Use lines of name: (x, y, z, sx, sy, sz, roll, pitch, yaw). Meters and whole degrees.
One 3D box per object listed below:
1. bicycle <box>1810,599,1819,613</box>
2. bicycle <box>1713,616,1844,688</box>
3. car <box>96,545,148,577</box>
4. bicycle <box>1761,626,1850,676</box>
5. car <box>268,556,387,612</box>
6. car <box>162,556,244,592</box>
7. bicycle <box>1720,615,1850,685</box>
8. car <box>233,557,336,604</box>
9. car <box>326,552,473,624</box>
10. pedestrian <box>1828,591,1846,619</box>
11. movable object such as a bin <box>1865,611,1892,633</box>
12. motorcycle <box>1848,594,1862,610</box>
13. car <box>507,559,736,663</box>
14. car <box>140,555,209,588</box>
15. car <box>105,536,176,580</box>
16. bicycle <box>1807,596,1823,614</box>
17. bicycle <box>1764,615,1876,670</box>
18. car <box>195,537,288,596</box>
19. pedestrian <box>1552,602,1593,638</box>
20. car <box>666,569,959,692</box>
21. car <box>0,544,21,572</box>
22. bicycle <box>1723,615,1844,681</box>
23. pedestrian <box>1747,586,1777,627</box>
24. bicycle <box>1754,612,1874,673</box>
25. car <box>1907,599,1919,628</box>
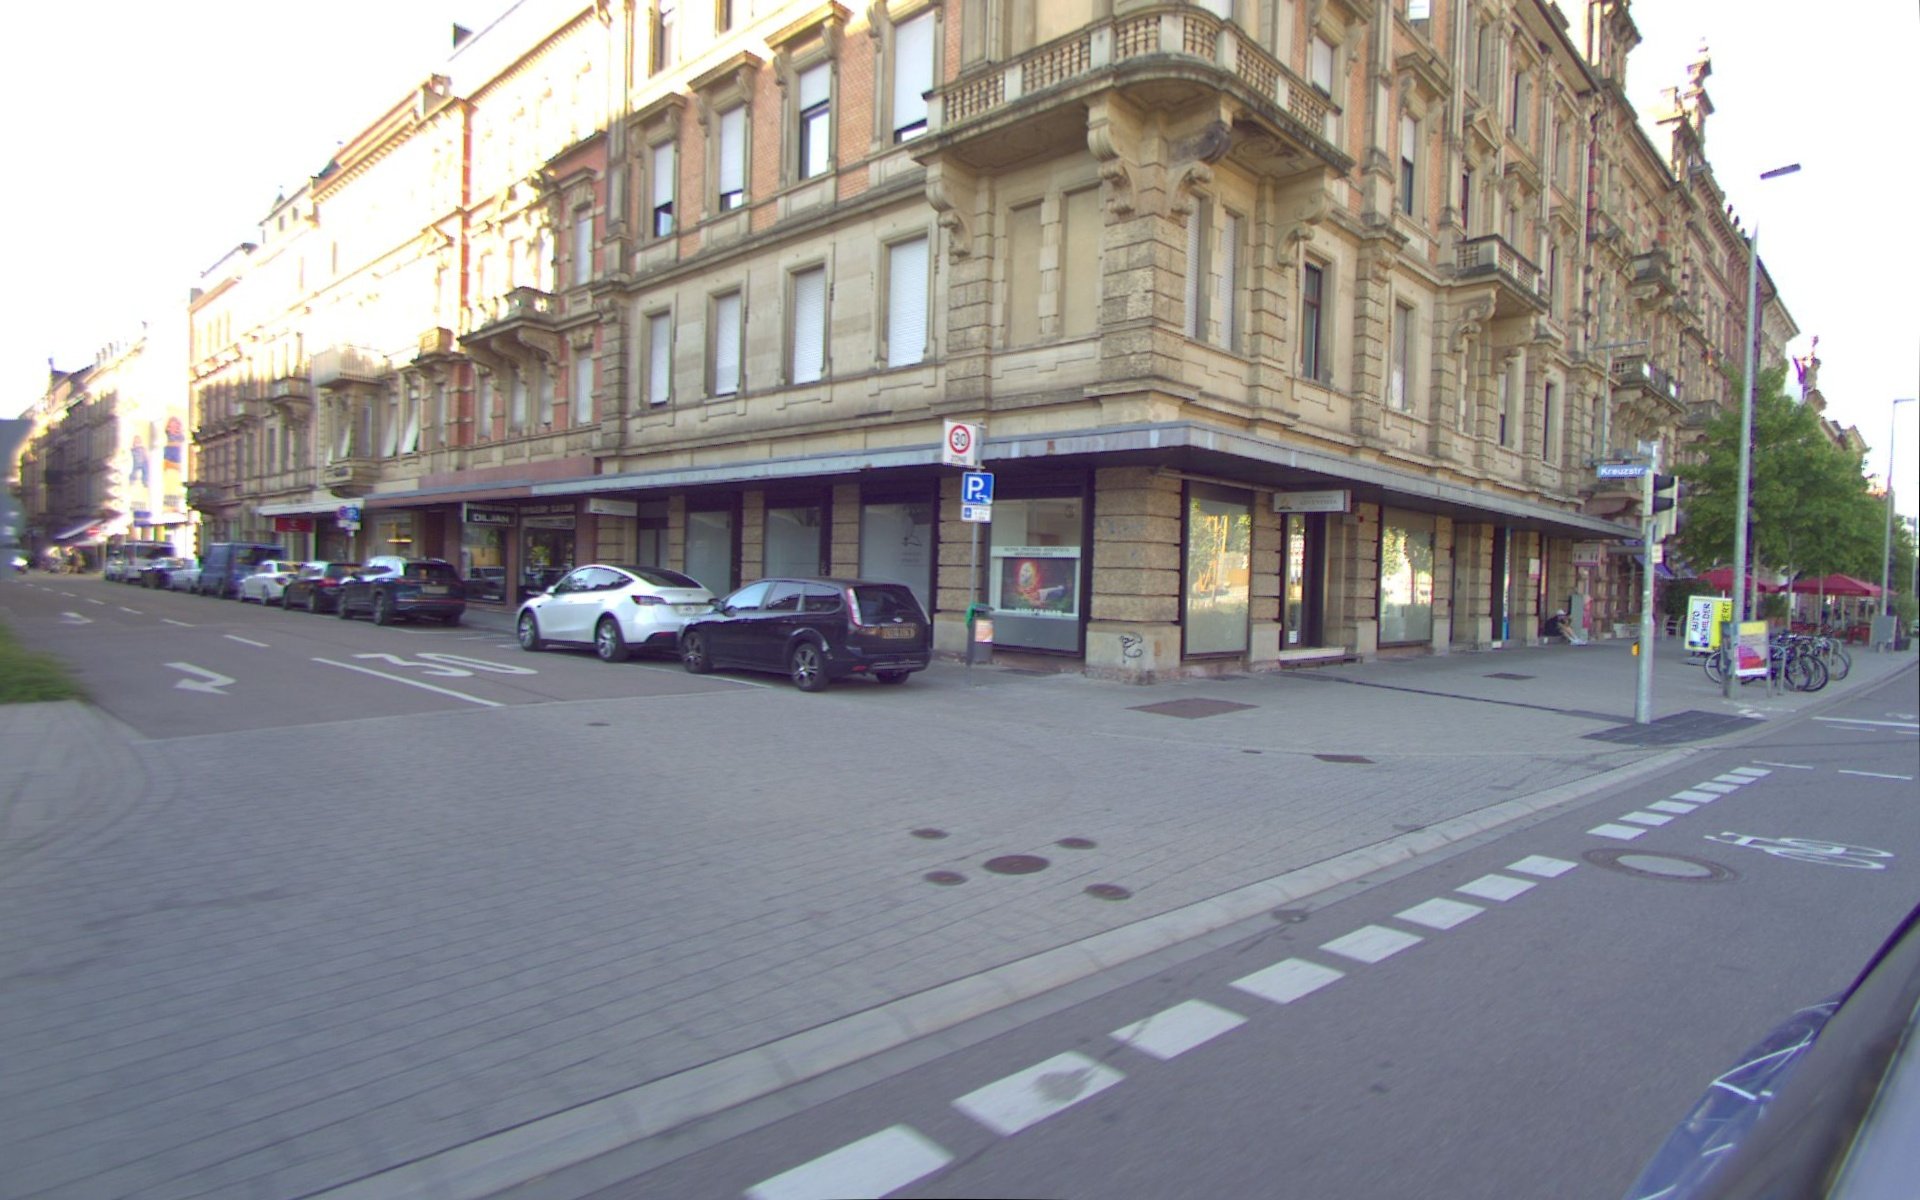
bicycle: (62.879, 0.430, 74.457, 0.343, 1.046, 2.039, 1, 1, 45)
bicycle: (15.069, 0.930, 18.675, 0.497, 1.117, 1.759, 1, 4, -38)
car: (-43.764, -2.014, 52.861, 3.366, 1.630, 1.634, 2, 2, 42)
bicycle: (17.445, 1.037, 20.897, 0.497, 0.887, 1.278, 1, 4, -38)
car: (-18.256, -0.498, 29.145, 4.190, 1.500, 1.835, 2, 2, 42)
car: (-29.843, -1.033, 39.872, 4.053, 1.347, 1.835, 2, 2, 42)
bicycle: (15.502, 0.911, 19.062, 0.497, 1.117, 1.759, 1, 4, -38)
car: (-21.562, -0.658, 32.270, 3.856, 1.409, 1.835, 2, 2, 42)
car: (-14.037, -0.351, 25.240, 4.436, 1.644, 1.849, 2, 2, 42)
pedestrian: (56.472, 0.335, 65.170, 1.054, 1.776, 0.748, 0, 2, -44)
movable object such as a bin: (40.966, 0.986, 45.128, 0.549, 0.935, 0.679, 1, 4, -24)
motorcycle: (81.162, 0.186, 91.754, 2.020, 1.439, 0.787, 0, 1, -45)
car: (-6.058, 0.094, 17.835, 4.537, 1.615, 1.835, 2, 2, 42)
car: (-33.461, -1.243, 43.090, 3.917, 1.347, 1.638, 2, 2, 42)
car: (-39.093, -2.010, 48.253, 4.029, 2.004, 2.029, 2, 2, 42)
bicycle: (61.160, 0.349, 72.402, 0.705, 1.235, 2.039, 1, 1, 45)
bicycle: (19.624, 0.945, 23.133, 0.556, 1.060, 1.811, 1, 4, -38)
car: (-25.392, -1.190, 35.724, 4.037, 1.952, 1.835, 2, 2, 42)
pedestrian: (17.732, 0.566, 29.294, 0.790, 0.974, 0.815, 1, 2, -42)
car: (-2.201, 0.305, 14.393, 4.258, 1.468, 1.835, 2, 2, 42)
car: (-57.451, -2.493, 60.511, 3.366, 1.630, 1.634, 2, 2, 42)
bicycle: (16.291, 0.923, 20.066, 0.497, 1.117, 1.727, 1, 4, -38)
pedestrian: (31.089, 0.243, 39.235, 0.784, 1.552, 0.729, 0, 3, -44)
bicycle: (18.587, 0.904, 22.067, 0.556, 1.118, 1.850, 1, 4, -38)
car: (56.084, 0.795, 58.403, 4.226, 1.583, 1.851, 0, 3, -44)
